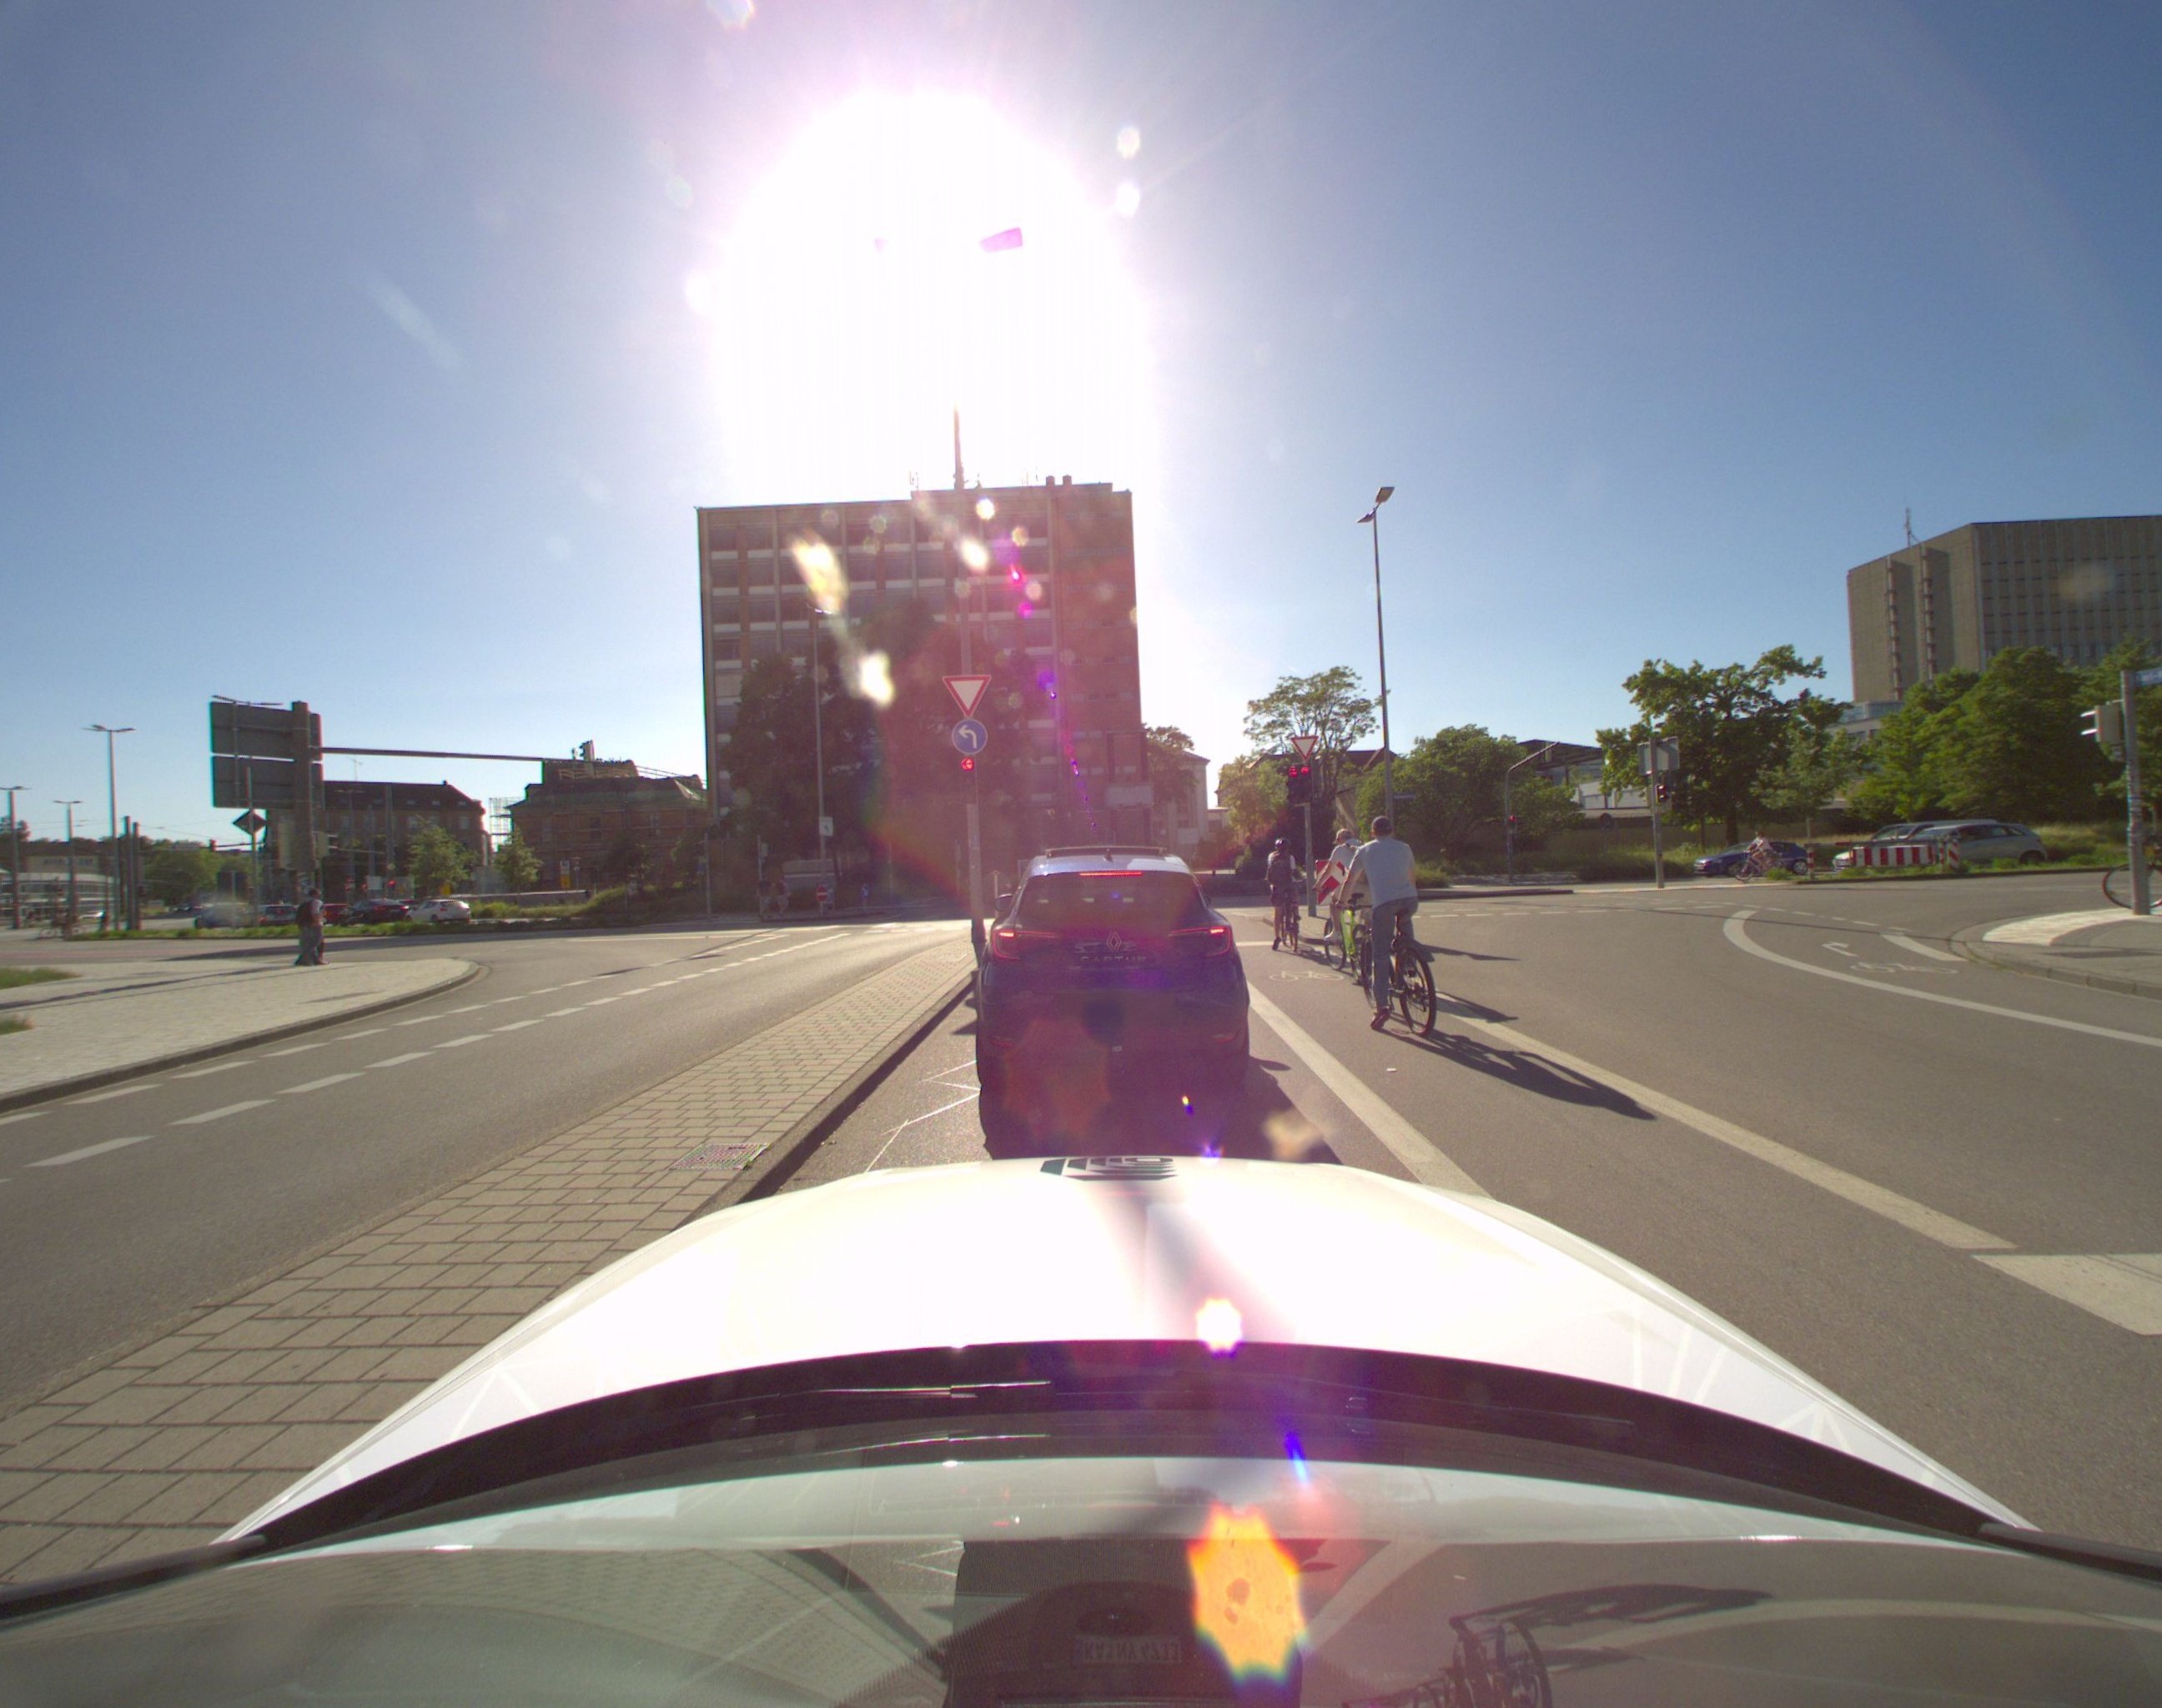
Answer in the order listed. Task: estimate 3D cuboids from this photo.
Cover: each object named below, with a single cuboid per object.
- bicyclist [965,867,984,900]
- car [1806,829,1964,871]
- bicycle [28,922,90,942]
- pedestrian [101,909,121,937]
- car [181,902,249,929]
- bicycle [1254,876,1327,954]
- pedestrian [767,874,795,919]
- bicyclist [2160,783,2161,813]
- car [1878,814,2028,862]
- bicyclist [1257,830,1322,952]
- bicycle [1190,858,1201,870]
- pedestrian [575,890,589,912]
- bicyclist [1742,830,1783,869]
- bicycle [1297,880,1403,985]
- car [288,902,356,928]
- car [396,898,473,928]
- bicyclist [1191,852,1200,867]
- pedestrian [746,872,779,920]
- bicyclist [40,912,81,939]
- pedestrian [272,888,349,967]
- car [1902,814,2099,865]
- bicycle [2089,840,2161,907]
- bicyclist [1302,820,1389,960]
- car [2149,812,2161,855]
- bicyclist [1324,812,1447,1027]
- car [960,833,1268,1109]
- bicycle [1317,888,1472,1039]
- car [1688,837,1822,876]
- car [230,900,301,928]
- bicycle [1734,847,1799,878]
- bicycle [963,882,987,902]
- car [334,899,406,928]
[{"bbox_3d":[-5.759,1.592,44.072,0.751,1.716,1.001,-2,-1,7],"label":"bicyclist"},{"bbox_3d":[30.298,-0.138,30.793,3.965,1.398,1.798,-3,-1,7],"label":"car"},{"bbox_3d":[-65.824,4.999,52.494,0.800,1.062,2.434,-1,-1,43],"label":"bicycle"},{"bbox_3d":[-62.973,4.478,52.888,0.696,1.762,0.782,-3,-1,38],"label":"pedestrian"},{"bbox_3d":[-54.911,3.887,51.640,3.834,1.508,1.805,-3,-1,25],"label":"car"},{"bbox_3d":[3.253,0.913,12.809,0.687,1.089,1.923,-1,0,2],"label":"bicycle"},{"bbox_3d":[-12.018,1.690,32.616,0.675,1.730,0.764,-3,-1,15],"label":"pedestrian"},{"bbox_3d":[16.027,-0.228,11.474,0.635,1.646,0.903,-2,-1,-39],"label":"bicyclist"},{"bbox_3d":[35.872,-0.620,33.607,3.965,1.749,1.798,-2,-1,7],"label":"car"},{"bbox_3d":[3.209,0.556,12.632,0.697,1.791,1.142,-1,-1,2],"label":"bicyclist"},{"bbox_3d":[11.475,1.014,81.686,0.692,1.140,2.441,-2,0,1],"label":"bicycle"},{"bbox_3d":[-40.948,3.888,66.867,0.680,1.730,0.759,-2,-1,-7],"label":"pedestrian"},{"bbox_3d":[24.269,-0.162,29.019,0.870,1.343,0.612,-2,-1,7],"label":"bicyclist"},{"bbox_3d":[3.189,0.887,9.849,0.687,1.089,1.923,-1,0,2],"label":"bicycle"},{"bbox_3d":[-48.205,3.865,51.712,3.834,1.508,1.805,-3,-1,25],"label":"car"},{"bbox_3d":[-36.393,3.332,45.838,3.834,1.508,1.805,-3,-1,25],"label":"car"},{"bbox_3d":[11.450,0.584,81.343,0.692,1.481,0.717,-2,-1,1],"label":"bicyclist"},{"bbox_3d":[-12.870,1.679,32.904,0.807,1.862,0.913,-3,-1,15],"label":"pedestrian"},{"bbox_3d":[-65.824,4.589,52.530,0.800,1.634,1.585,-1,-1,42],"label":"bicyclist"},{"bbox_3d":[-17.774,1.678,18.801,0.647,1.730,1.066,-3,-1,15],"label":"pedestrian"},{"bbox_3d":[29.222,-0.435,26.002,3.965,1.398,1.798,-3,-1,7],"label":"car"},{"bbox_3d":[15.915,0.266,11.627,0.640,0.958,1.866,-2,-1,-39],"label":"bicycle"},{"bbox_3d":[3.196,0.418,9.932,0.676,1.594,1.142,-1,-1,2],"label":"bicyclist"},{"bbox_3d":[36.902,-0.764,25.331,4.534,1.398,1.798,-3,-1,7],"label":"car"},{"bbox_3d":[2.721,0.551,7.394,0.680,1.791,1.142,-1,-1,2],"label":"bicyclist"},{"bbox_3d":[0.198,0.702,6.768,1.783,1.585,3.913,-1,0,0],"label":"car"},{"bbox_3d":[2.723,0.896,7.316,0.687,1.089,1.923,-1,0,2],"label":"bicycle"},{"bbox_3d":[28.136,0.104,34.107,3.965,1.398,1.798,-3,-1,7],"label":"car"},{"bbox_3d":[-48.862,3.600,48.808,3.834,1.508,1.805,-3,-1,25],"label":"car"},{"bbox_3d":[24.395,0.308,29.005,1.673,1.033,0.612,-2,-1,7],"label":"bicycle"},{"bbox_3d":[-5.725,2.041,44.173,0.751,0.985,2.098,-2,0,8],"label":"bicycle"},{"bbox_3d":[-42.549,3.559,48.743,3.834,1.508,1.805,-3,-1,25],"label":"car"}]
